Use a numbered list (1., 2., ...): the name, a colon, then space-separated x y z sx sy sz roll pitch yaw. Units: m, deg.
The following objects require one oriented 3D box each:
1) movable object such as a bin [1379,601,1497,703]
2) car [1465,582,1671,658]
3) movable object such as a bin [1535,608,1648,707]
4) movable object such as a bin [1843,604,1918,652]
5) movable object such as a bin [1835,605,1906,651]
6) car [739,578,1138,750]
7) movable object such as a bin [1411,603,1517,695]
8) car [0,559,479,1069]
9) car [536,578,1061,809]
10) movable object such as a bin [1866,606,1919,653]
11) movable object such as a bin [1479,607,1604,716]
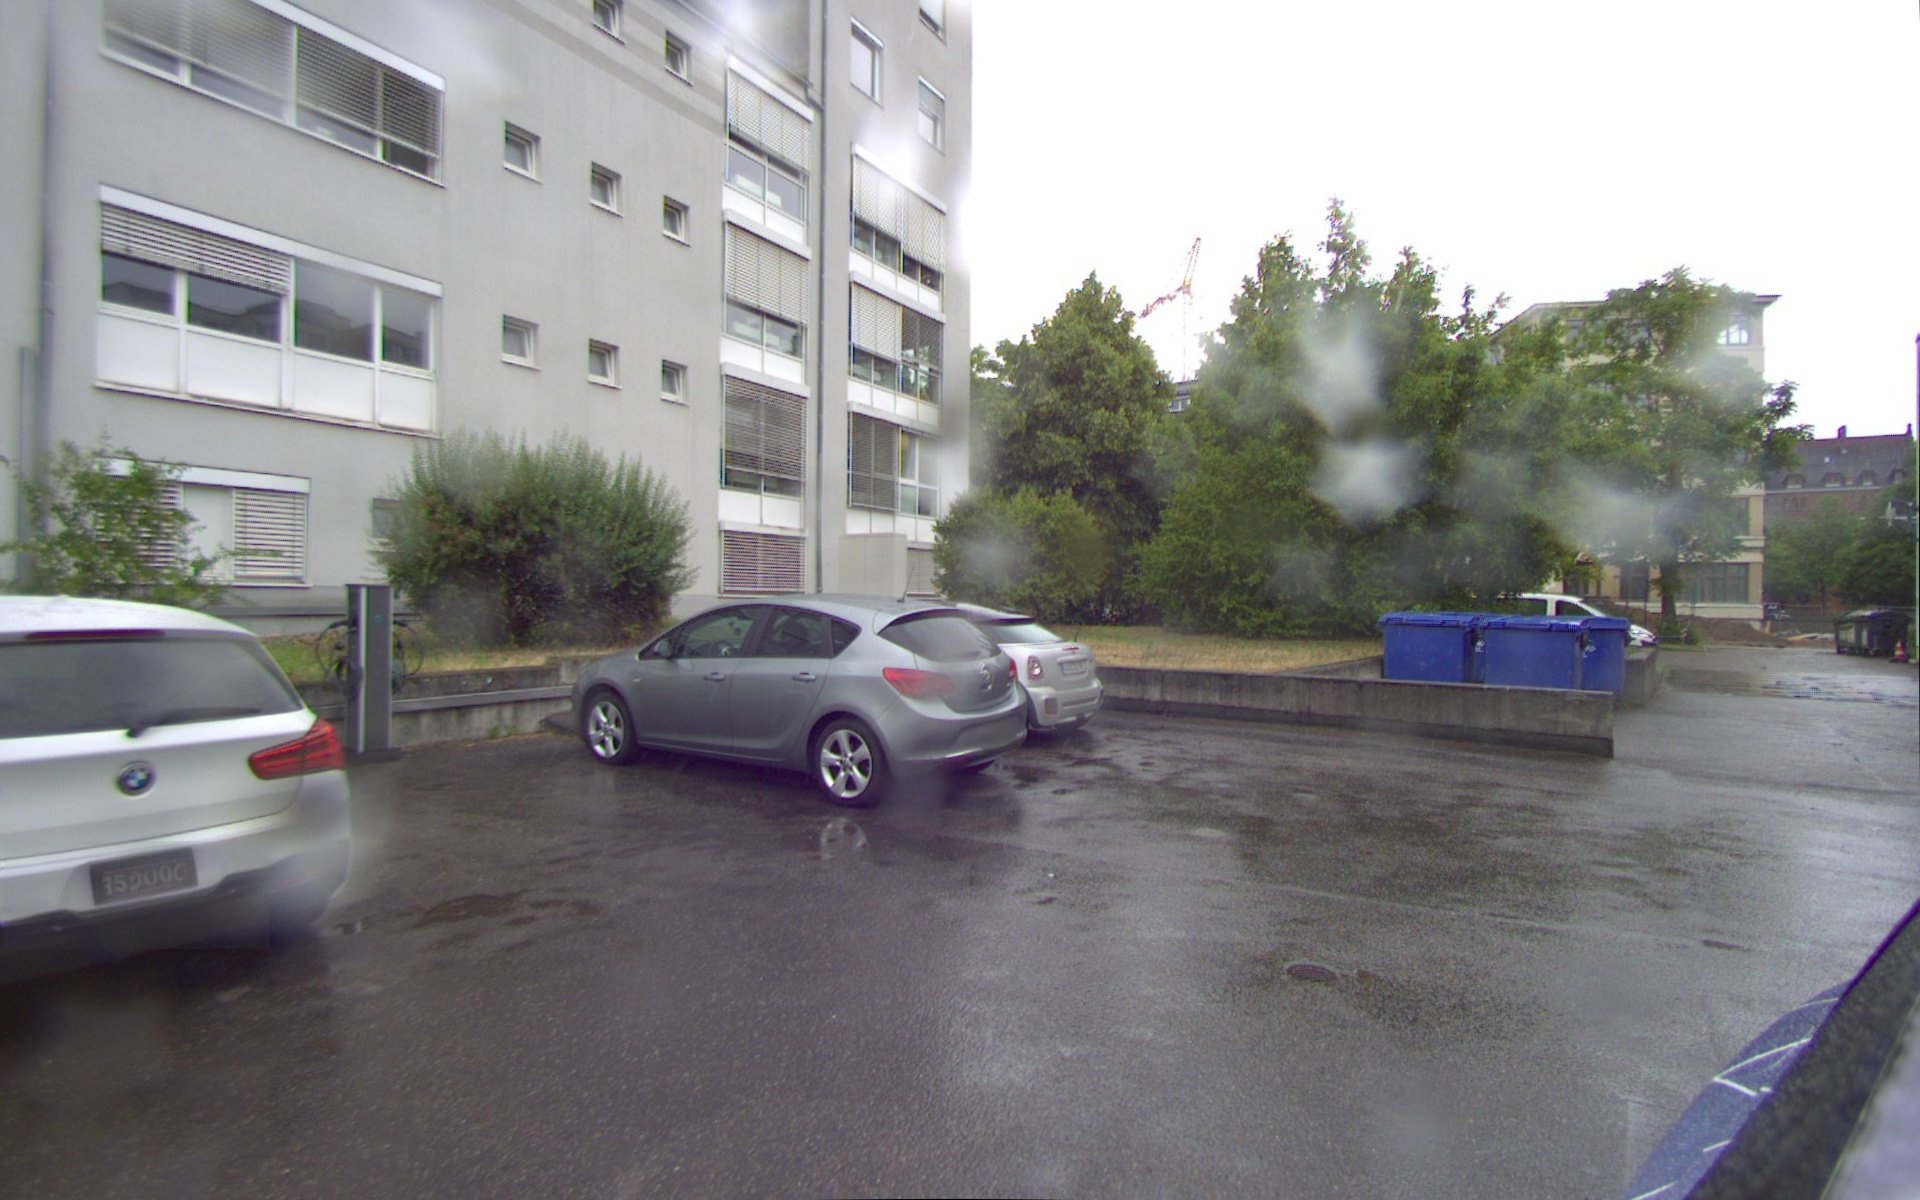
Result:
1. movable object such as a bin: 6.980 0.744 14.730 1.226 1.375 1.944 -1 -3 36
2. car: 16.784 0.595 28.063 4.673 1.906 2.093 -1 -4 39
3. movable object such as a bin: 9.499 0.844 15.203 1.305 1.375 1.880 -1 -3 36
4. movable object such as a bin: 29.154 0.902 32.080 1.480 1.467 1.298 -1 -3 32
5. movable object such as a bin: 29.852 0.924 33.217 1.480 1.467 1.298 -1 -3 32
6. car: -0.322 0.593 11.608 4.194 1.508 1.975 3 0 35
7. movable object such as a bin: 8.153 0.776 16.316 1.226 1.375 1.944 -1 -3 36
8. car: -4.316 0.627 4.574 4.190 1.509 1.976 0 -1 33
9. car: -1.456 0.615 8.617 4.190 1.509 1.976 0 -1 33
10. movable object such as a bin: 28.453 0.912 30.712 1.178 1.392 1.298 -1 -3 31
11. movable object such as a bin: 8.032 0.819 13.941 1.305 1.375 1.880 -1 -3 36
